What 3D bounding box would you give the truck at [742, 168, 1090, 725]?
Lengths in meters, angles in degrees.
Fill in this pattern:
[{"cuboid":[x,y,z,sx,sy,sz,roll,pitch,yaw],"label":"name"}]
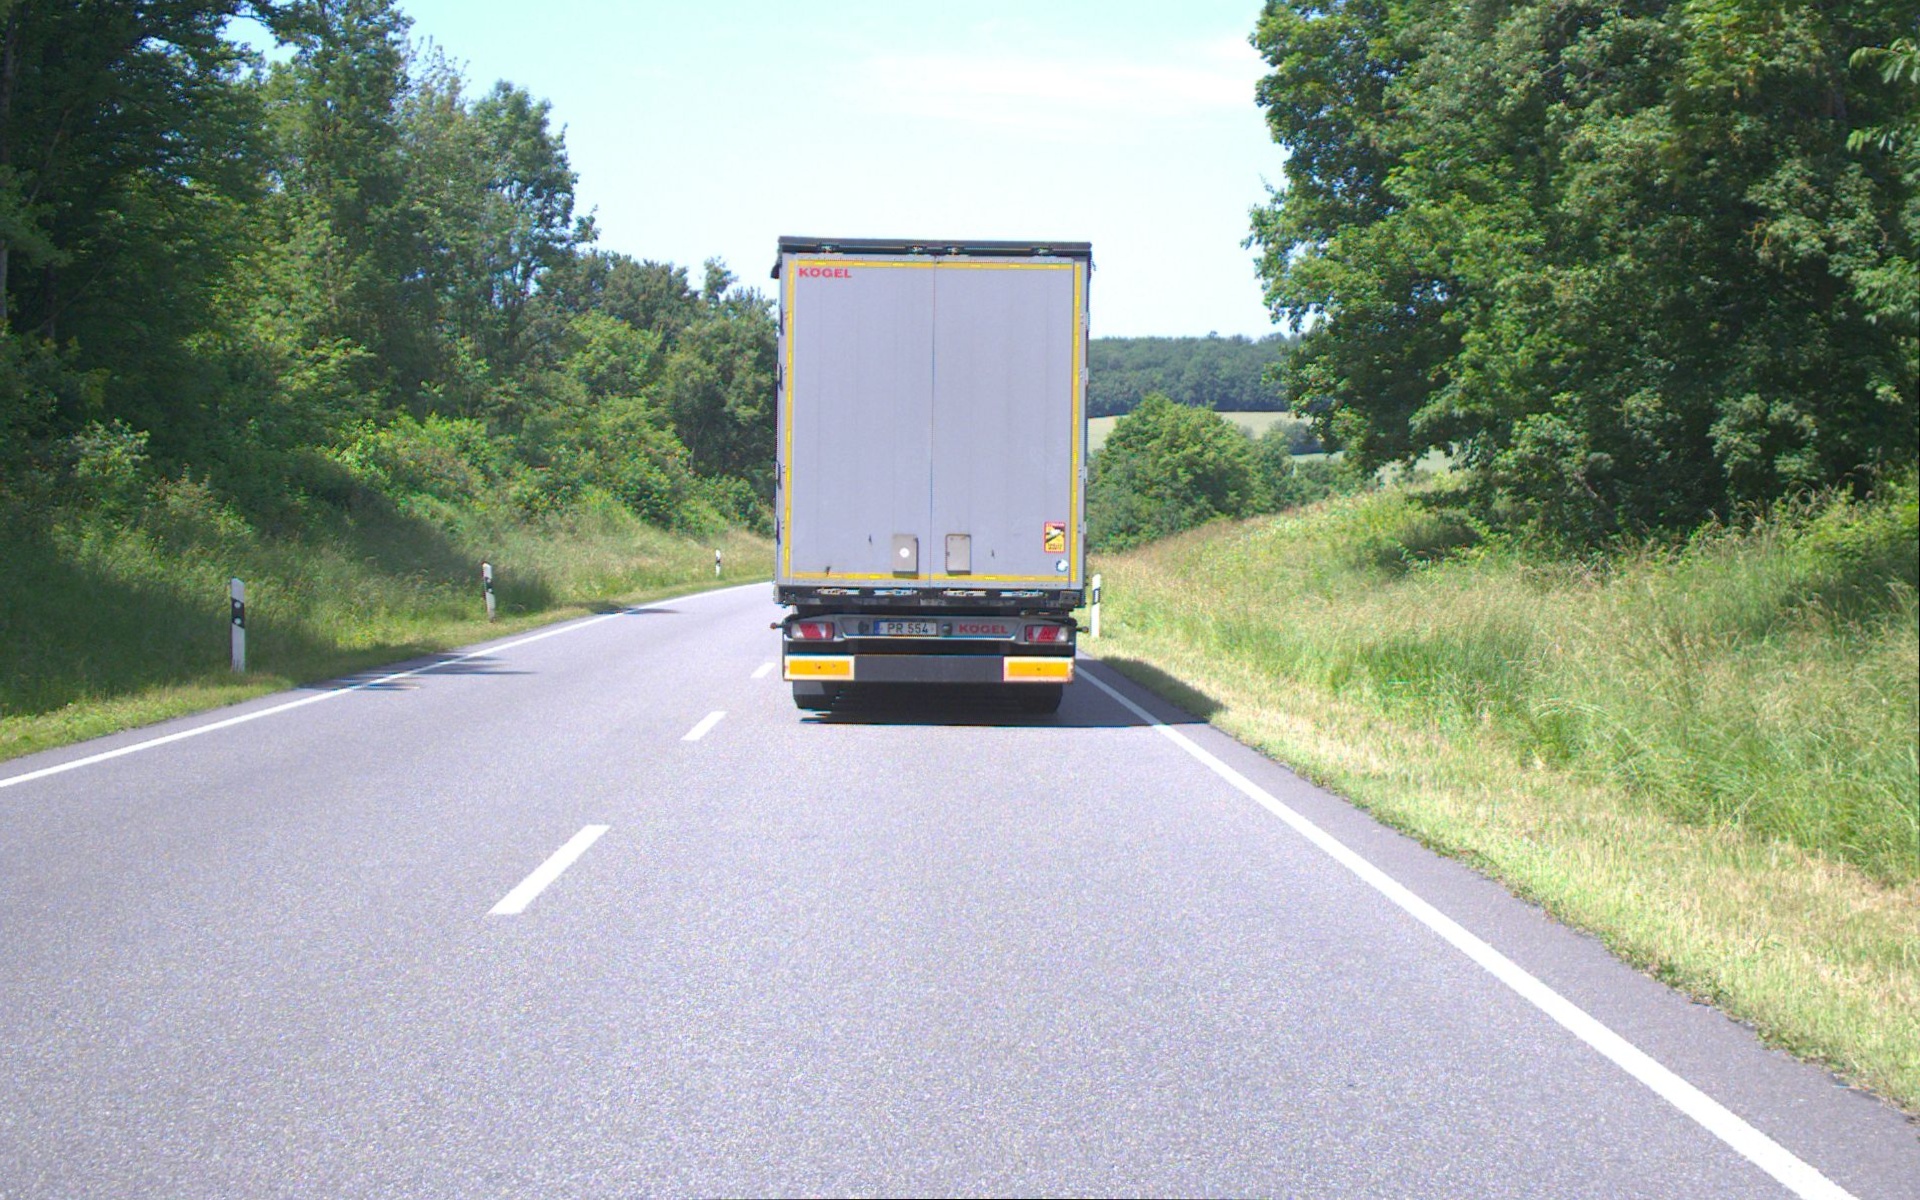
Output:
[{"cuboid":[-0.413,-1.356,33.806,2.817,4.517,11.769,0,1,-1],"label":"truck"}]
